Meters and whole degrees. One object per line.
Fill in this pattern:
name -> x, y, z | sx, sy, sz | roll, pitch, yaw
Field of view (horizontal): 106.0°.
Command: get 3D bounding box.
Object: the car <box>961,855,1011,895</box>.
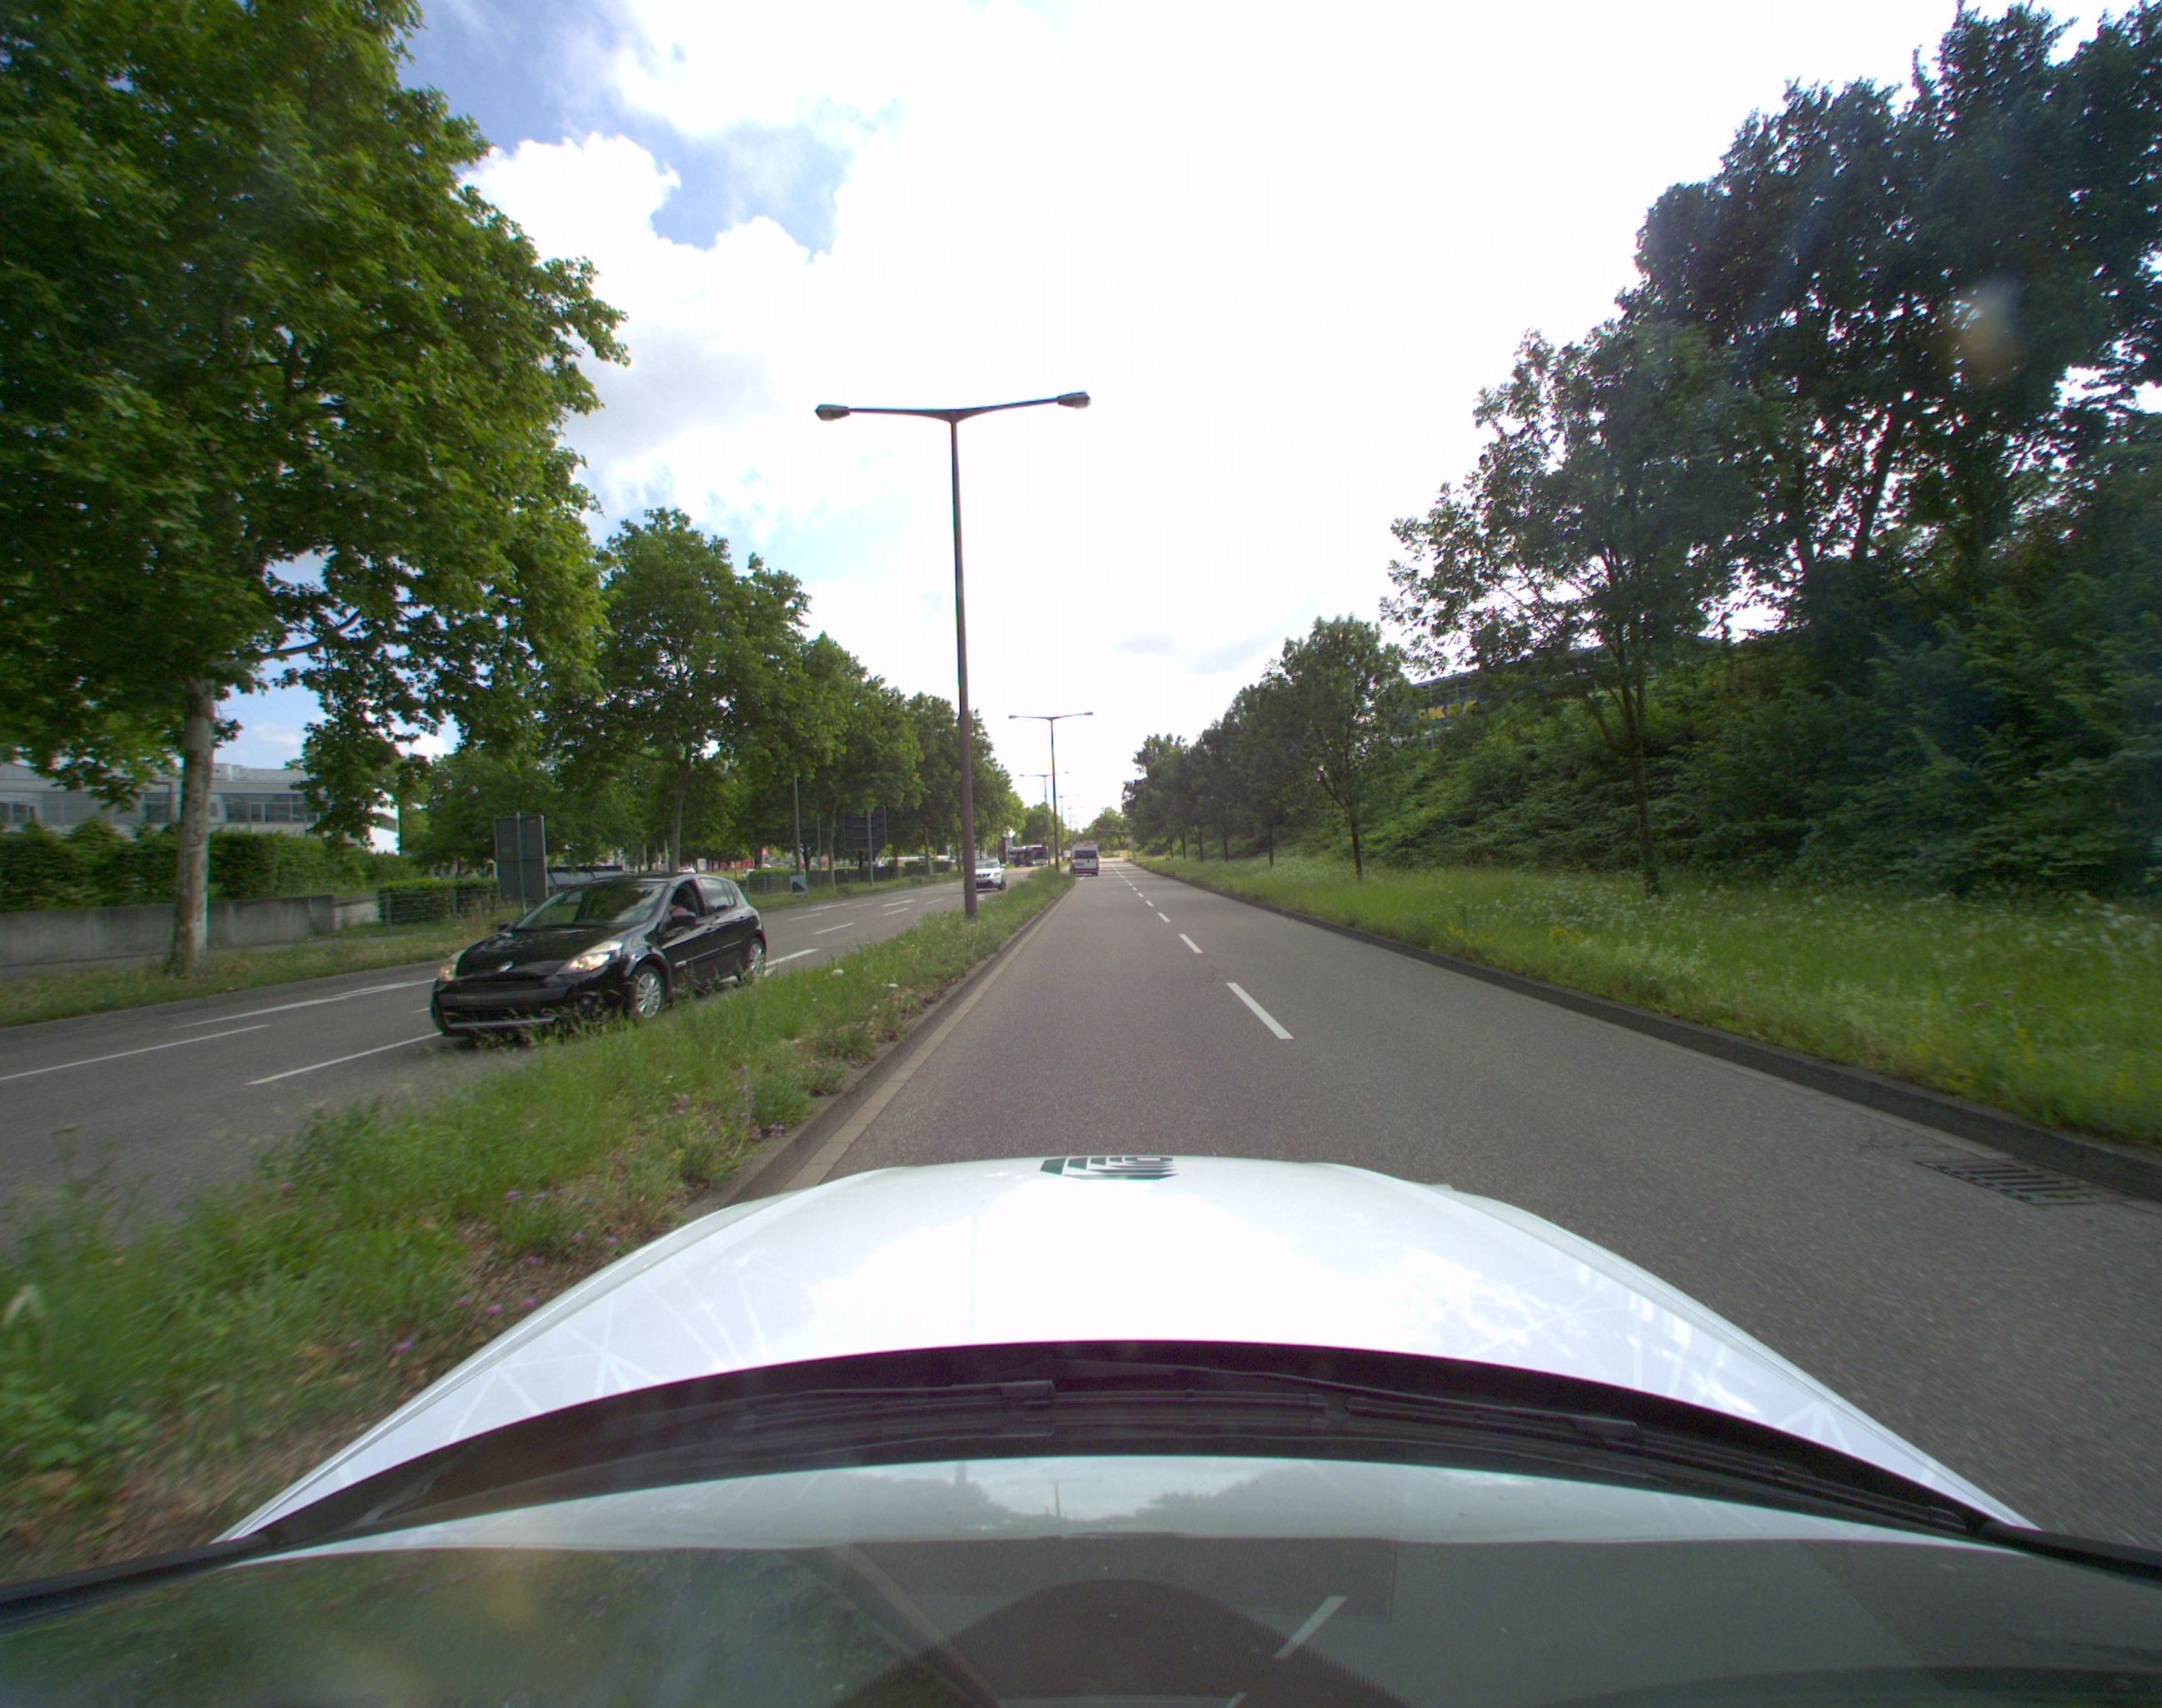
car -> -4.521, 0.968, 39.286 | 1.808, 1.640, 4.350 | -4, 0, -1

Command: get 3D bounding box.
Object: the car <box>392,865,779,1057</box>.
car -> -4.848, 0.913, 8.745 | 1.689, 1.464, 3.940 | -3, 0, 0

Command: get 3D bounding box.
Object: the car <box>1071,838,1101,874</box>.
car -> 0.358, 0.209, 64.744 | 2.192, 2.726, 4.927 | -1, -1, -2

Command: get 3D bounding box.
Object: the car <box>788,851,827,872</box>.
car -> -23.241, 0.641, 69.343 | 1.885, 1.596, 4.000 | -2, -3, 1

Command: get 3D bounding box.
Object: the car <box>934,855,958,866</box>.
car -> -24.367, 1.181, 146.954 | 4.019, 1.838, 1.843 | 1, -4, -38

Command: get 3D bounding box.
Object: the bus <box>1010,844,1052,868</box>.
bus -> -7.765, 0.407, 124.143 | 3.119, 3.274, 12.258 | -4, 0, -19
